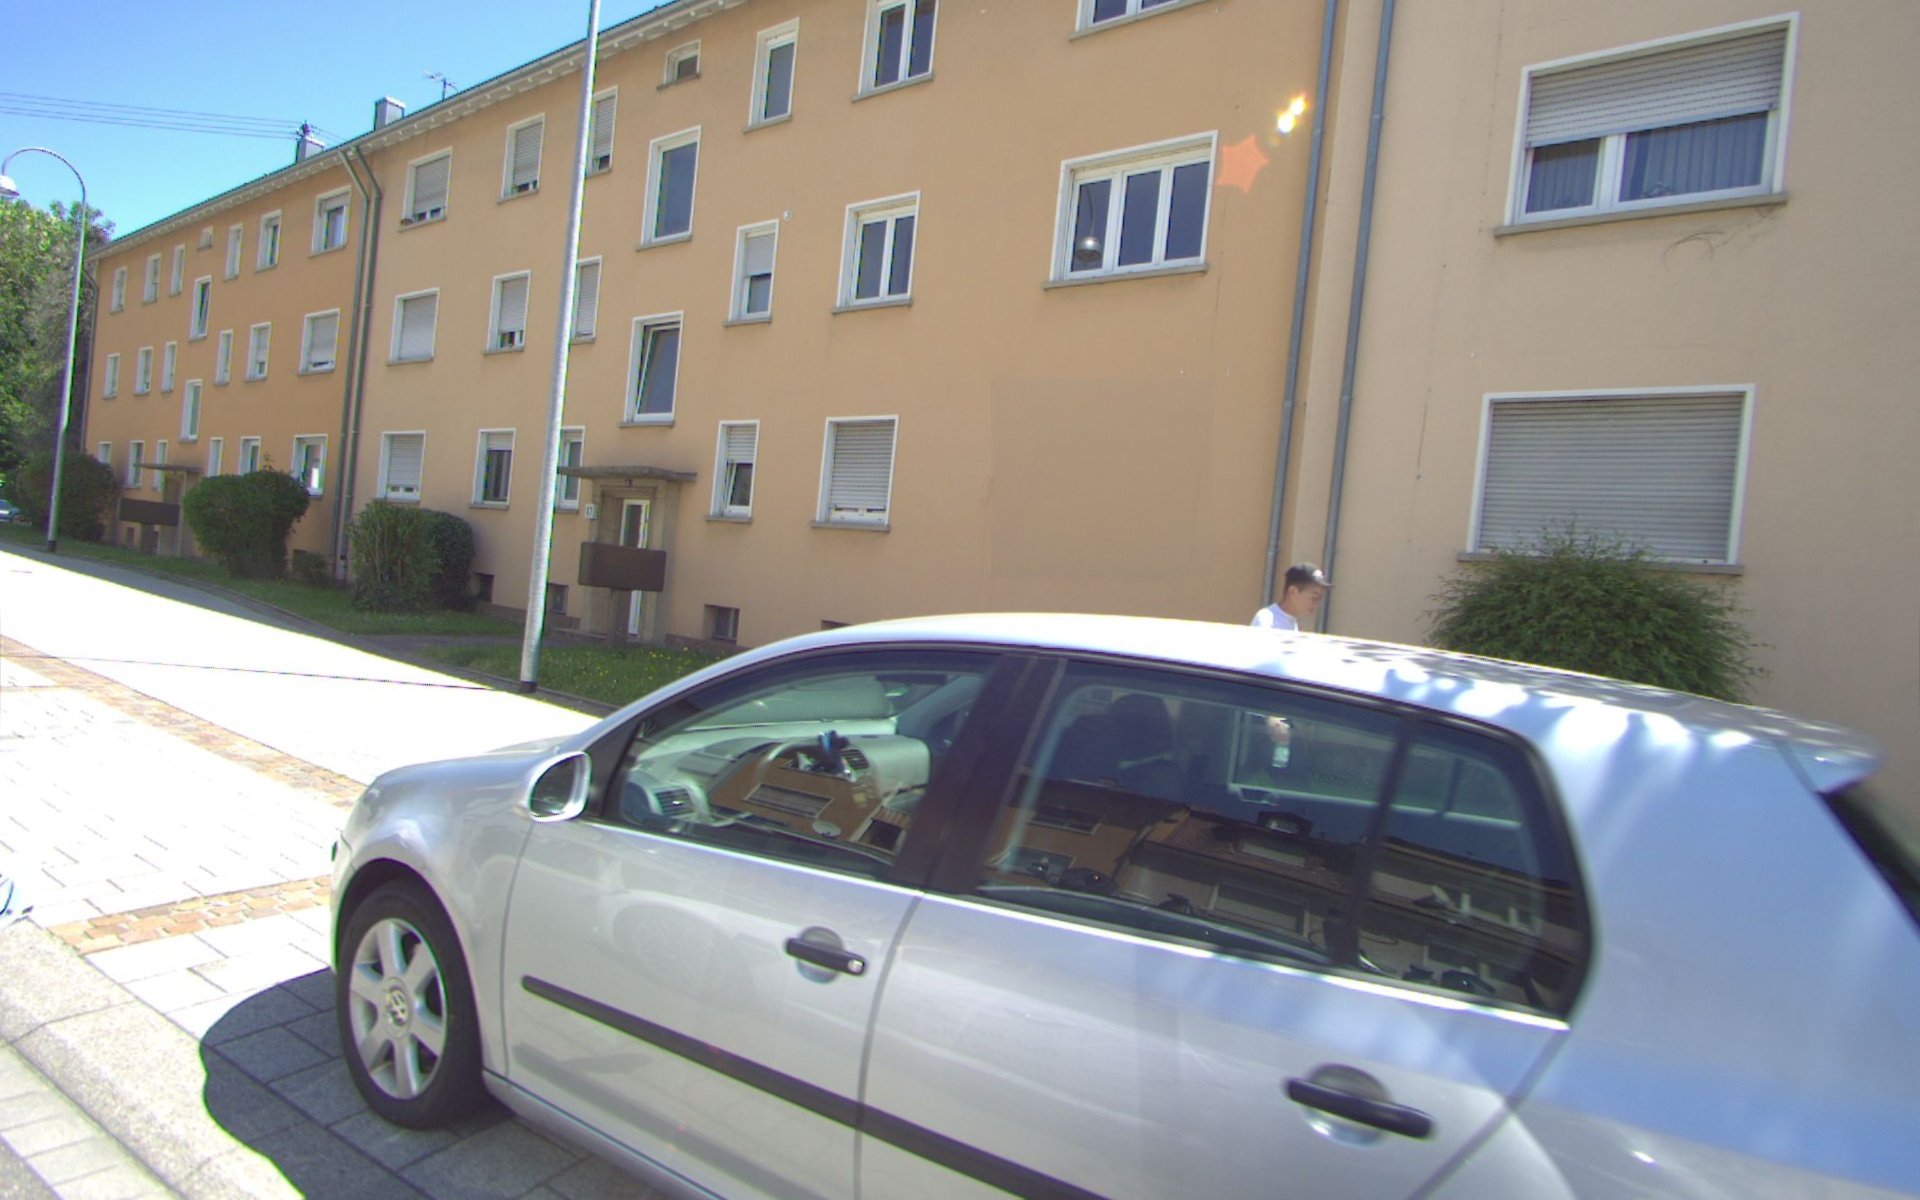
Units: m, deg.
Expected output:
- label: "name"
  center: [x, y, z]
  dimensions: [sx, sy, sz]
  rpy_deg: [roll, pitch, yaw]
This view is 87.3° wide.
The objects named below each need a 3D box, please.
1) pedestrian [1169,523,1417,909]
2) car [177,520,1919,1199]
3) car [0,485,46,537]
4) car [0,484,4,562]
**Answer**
- label: "pedestrian"
  center: [1.855, 0.581, 5.579]
  dimensions: [0.968, 1.877, 0.821]
  rpy_deg: [6, 1, 32]
- label: "car"
  center: [0.042, 0.731, 2.630]
  dimensions: [4.433, 1.495, 1.814]
  rpy_deg: [5, 0, 32]
- label: "car"
  center: [-39.001, -3.753, 39.354]
  dimensions: [1.720, 1.860, 4.350]
  rpy_deg: [6, -2, 27]
- label: "car"
  center: [-13.202, -0.794, 11.874]
  dimensions: [4.984, 1.524, 1.832]
  rpy_deg: [7, 2, 35]
